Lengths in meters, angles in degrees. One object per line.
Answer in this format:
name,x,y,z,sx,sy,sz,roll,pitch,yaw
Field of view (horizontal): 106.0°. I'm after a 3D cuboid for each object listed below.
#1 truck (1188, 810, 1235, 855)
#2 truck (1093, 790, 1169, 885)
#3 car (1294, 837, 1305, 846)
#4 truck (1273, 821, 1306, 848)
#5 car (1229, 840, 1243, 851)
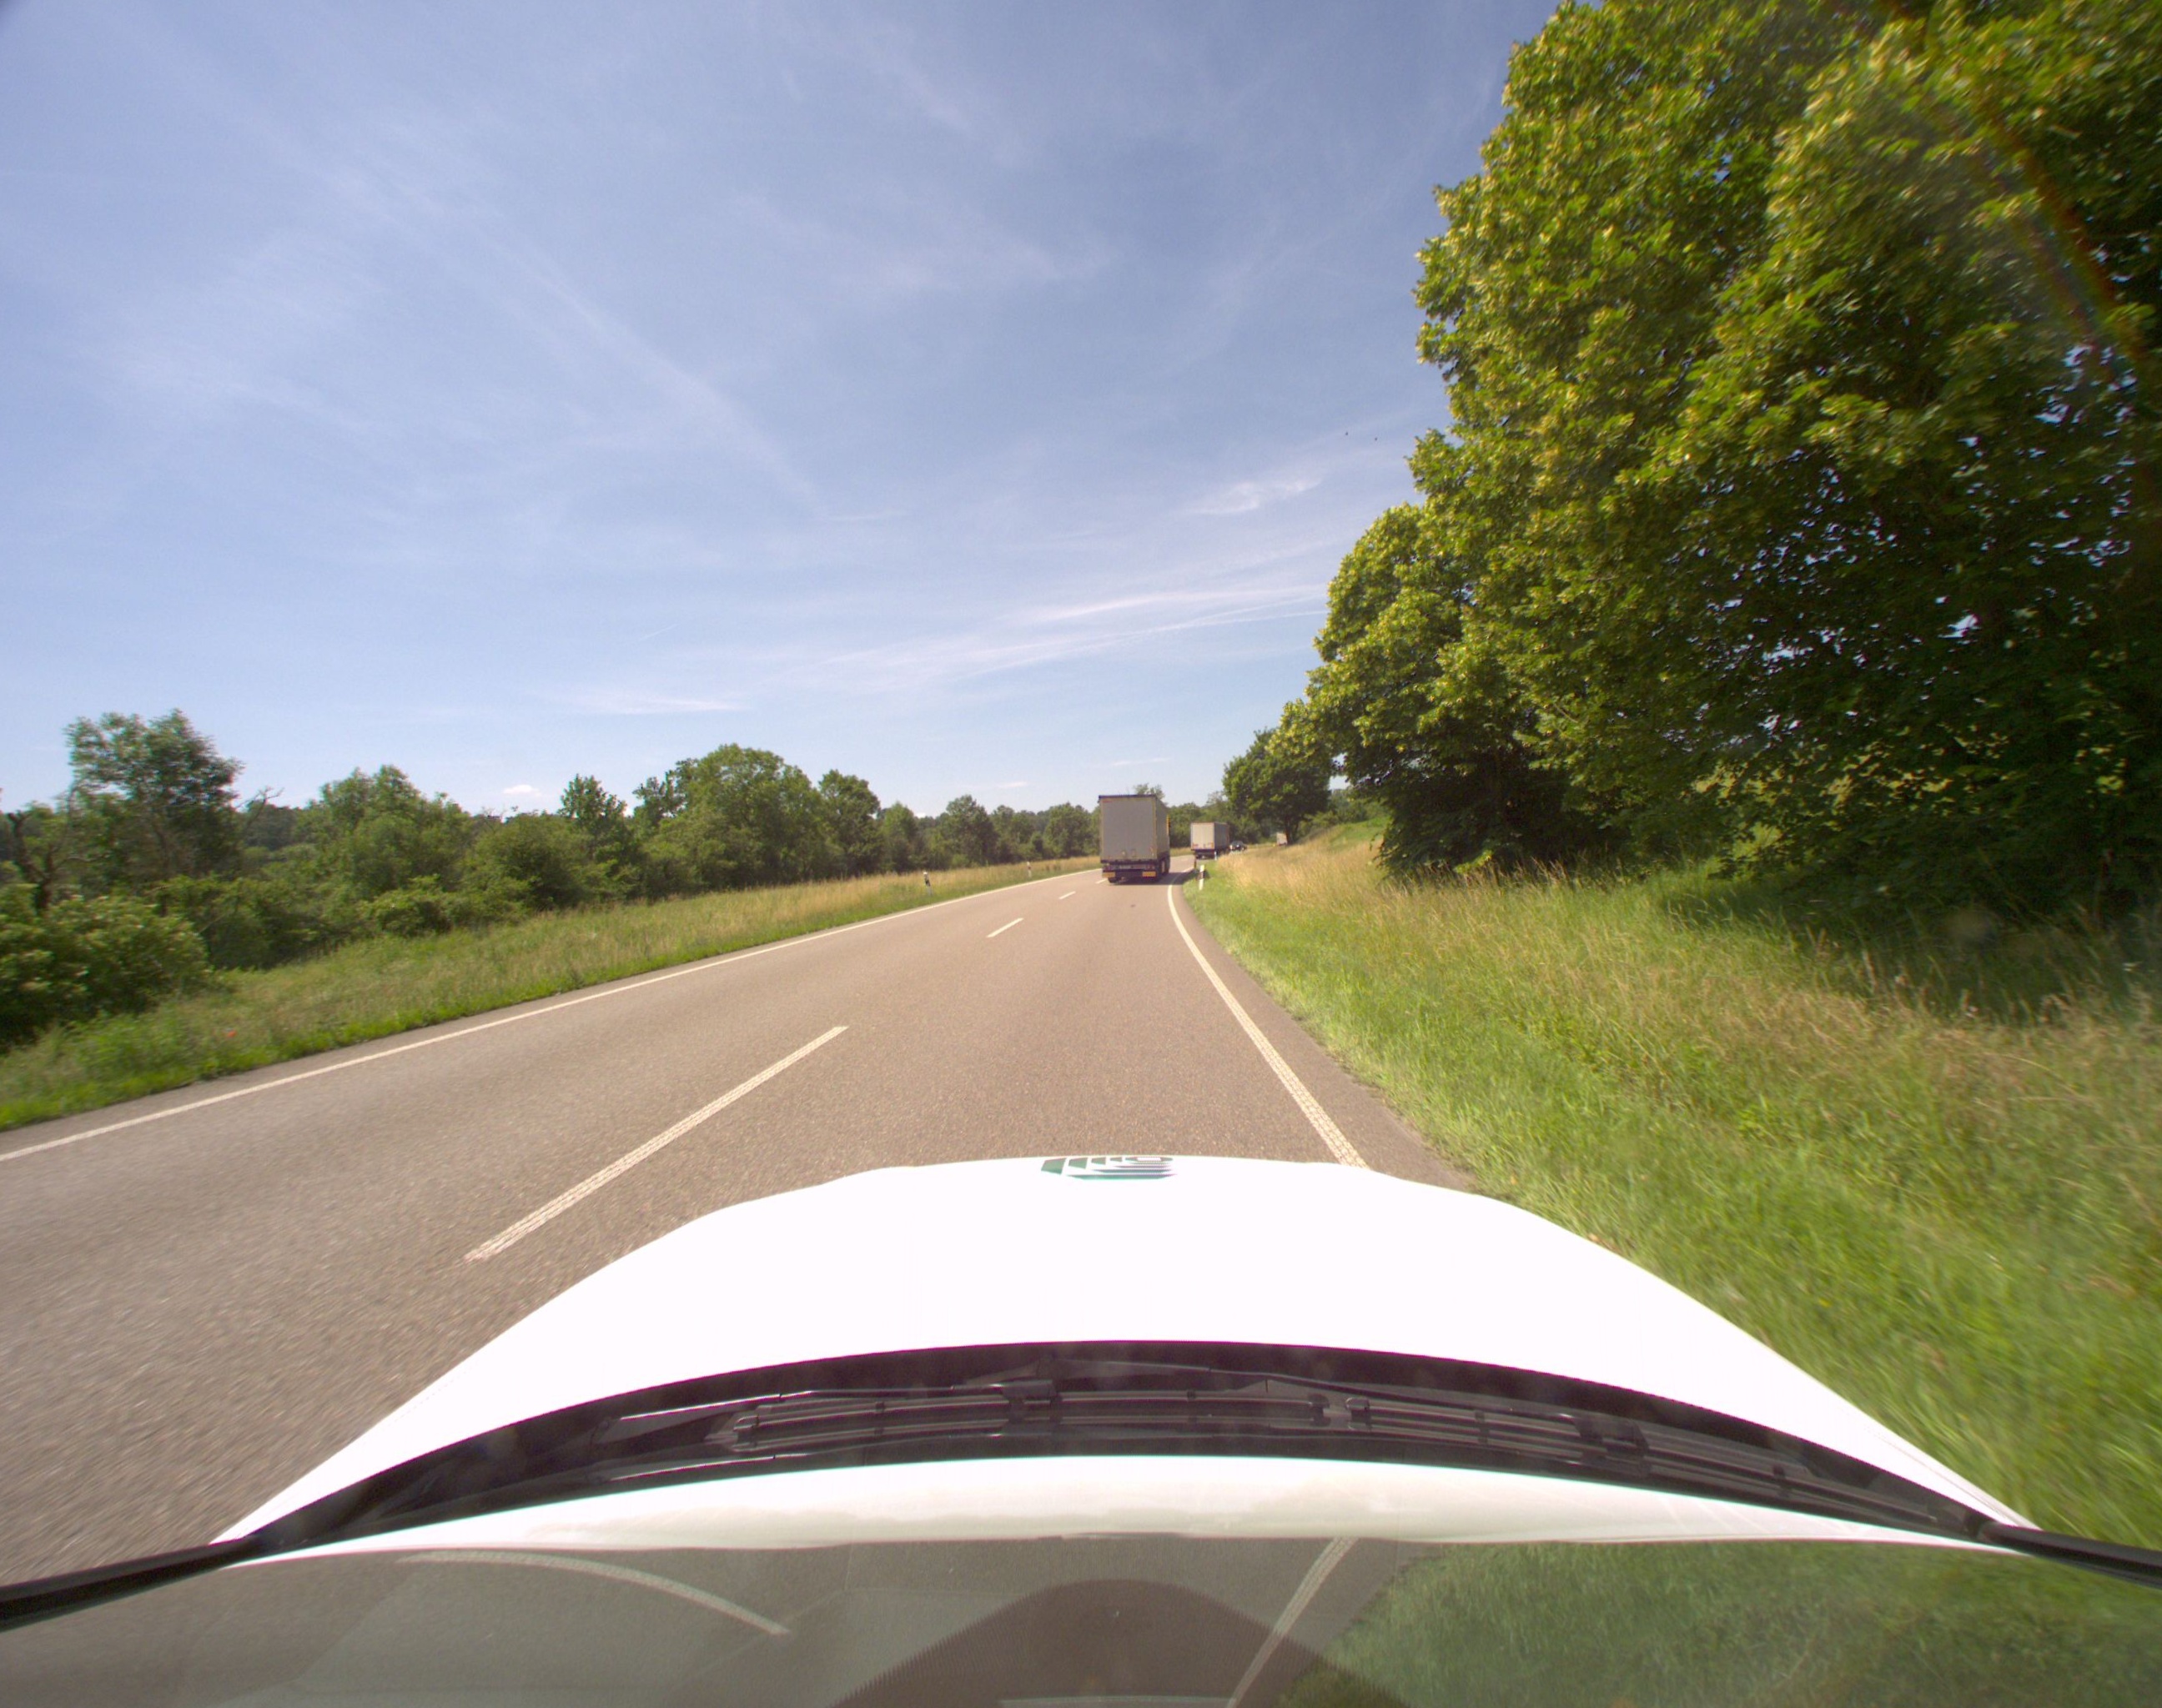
truck,15.316,-2.354,94.296,3.081,4.705,16.661,-2,0,17
truck,2.991,-0.750,43.349,2.786,4.068,15.358,-2,0,8
car,44.808,-2.542,166.704,1.516,1.798,3.846,-2,0,25
truck,39.698,-3.639,154.431,3.077,4.705,16.684,-2,0,24
car,25.343,-1.345,132.917,1.517,1.717,3.842,-3,0,19
